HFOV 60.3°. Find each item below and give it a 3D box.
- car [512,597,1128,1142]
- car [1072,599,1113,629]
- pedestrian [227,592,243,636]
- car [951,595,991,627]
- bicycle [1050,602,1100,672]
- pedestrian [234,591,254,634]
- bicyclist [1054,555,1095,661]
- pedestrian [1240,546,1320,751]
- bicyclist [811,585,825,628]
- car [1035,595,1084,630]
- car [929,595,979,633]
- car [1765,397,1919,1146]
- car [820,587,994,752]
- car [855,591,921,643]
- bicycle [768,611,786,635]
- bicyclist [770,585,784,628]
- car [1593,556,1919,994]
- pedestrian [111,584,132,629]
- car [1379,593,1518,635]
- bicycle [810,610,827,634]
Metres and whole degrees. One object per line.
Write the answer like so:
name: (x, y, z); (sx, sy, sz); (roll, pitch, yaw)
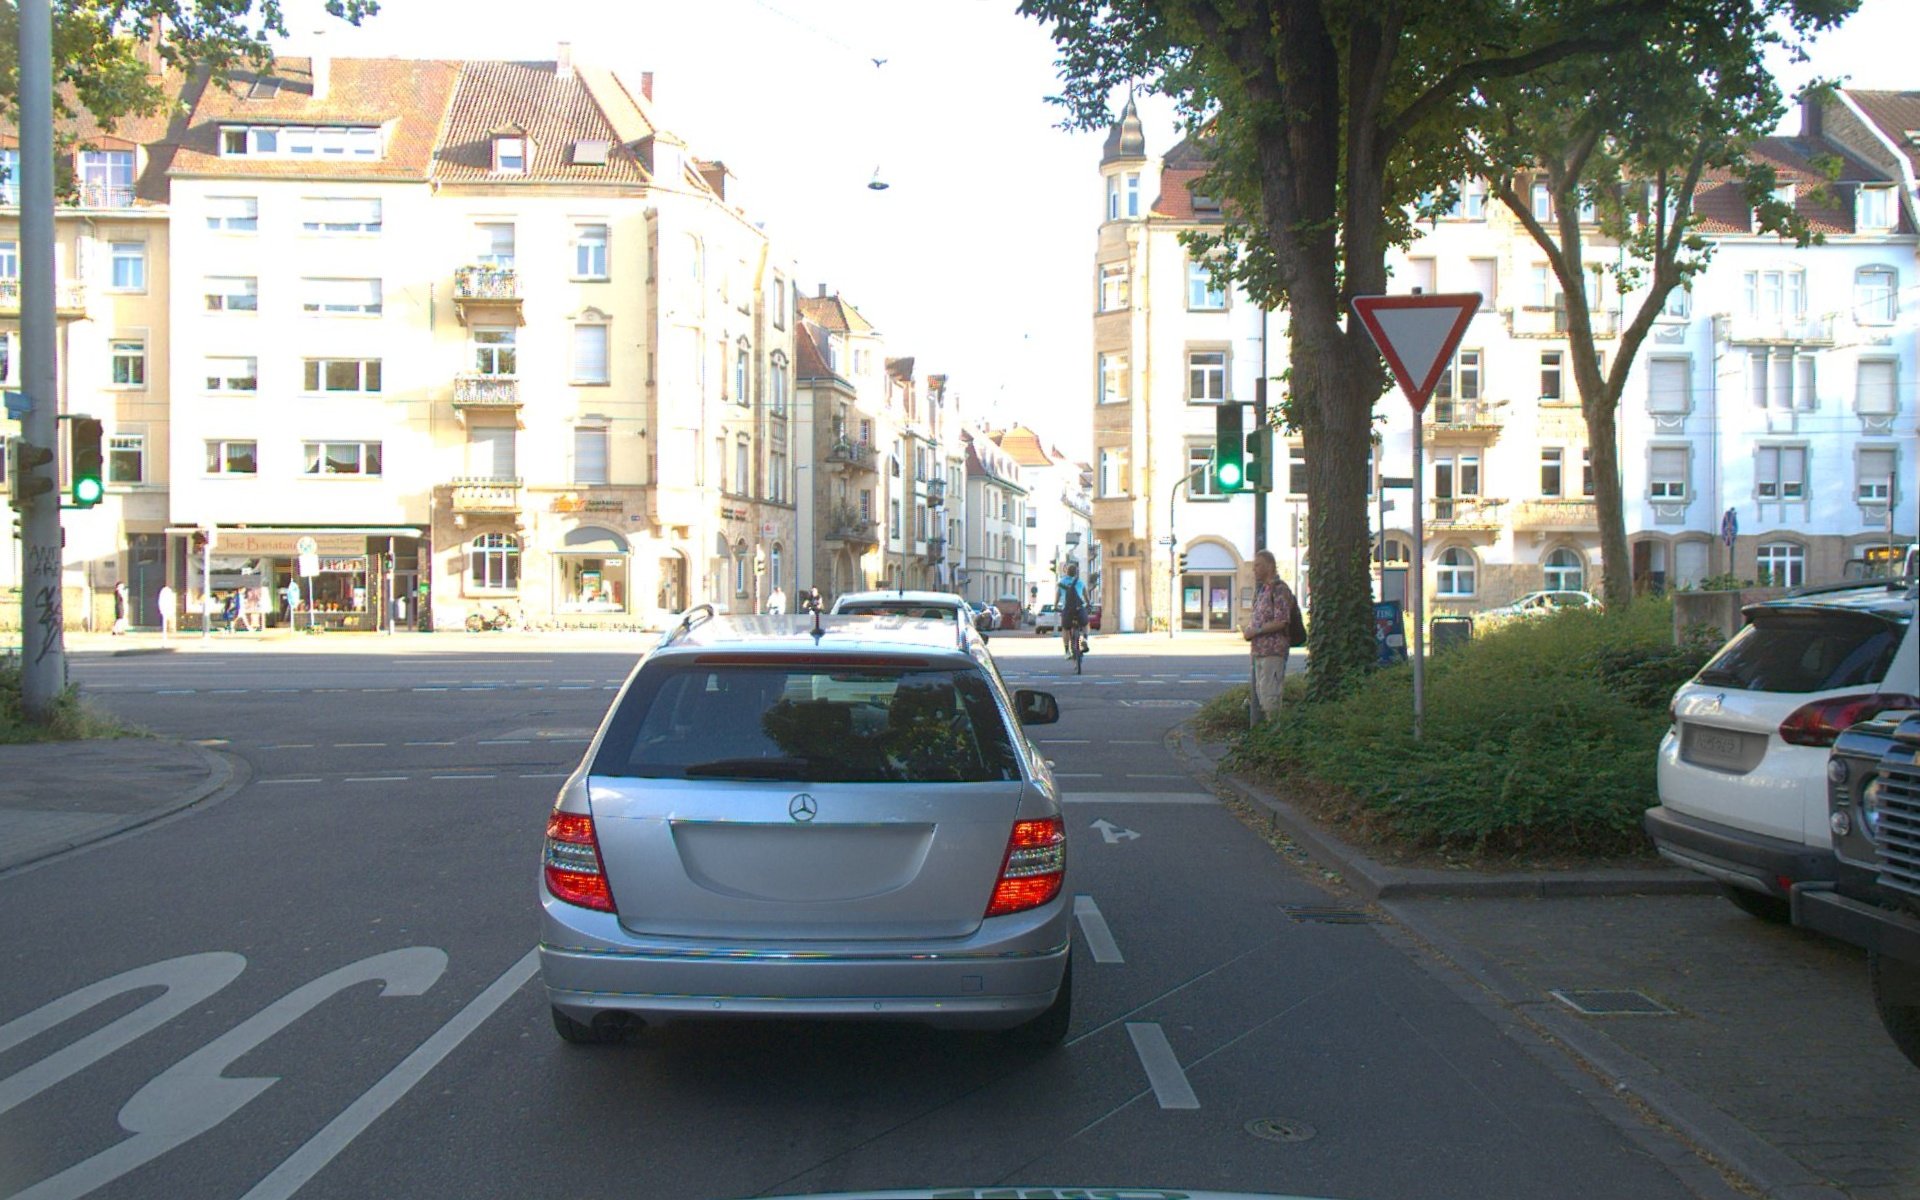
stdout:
car: (-0.432, 0.740, 6.276); (1.656, 1.454, 3.491); (1, 0, -2)
car: (7.710, 0.781, 96.059); (1.684, 1.503, 4.004); (-4, 0, 13)
pedestrian: (-25.620, 0.477, 58.446); (0.465, 1.537, 0.428); (0, 0, -19)
car: (0.655, 0.631, 96.545); (1.615, 1.814, 3.866); (0, -1, 12)
bicycle: (1.986, 0.619, 28.683); (0.727, 1.137, 2.013); (1, 1, 1)
pedestrian: (-25.575, 0.452, 59.069); (0.498, 1.537, 0.536); (0, 0, -6)
bicyclist: (1.982, 0.136, 28.707); (0.633, 1.806, 0.831); (1, 0, 0)
pedestrian: (2.990, 0.443, 15.497); (0.619, 1.877, 0.574); (0, 0, -3)
bicyclist: (-5.229, 0.238, 60.863); (0.457, 1.547, 0.693); (0, 0, -3)
car: (4.850, 0.587, 80.106); (1.684, 1.504, 4.004); (-2, 1, 13)
car: (-0.255, 0.634, 79.199); (1.650, 1.752, 4.004); (0, 0, 11)
car: (4.734, 0.385, 4.283); (4.401, 1.990, 1.792); (-2, 0, -2)
car: (-0.488, 0.588, 16.156); (1.502, 1.415, 3.598); (0, 1, -1)
car: (-2.855, 0.641, 66.452); (1.896, 1.993, 4.153); (0, 0, 9)
bicycle: (-6.592, 0.828, 59.629); (0.557, 0.849, 1.565); (0, 0, -3)
bicyclist: (-6.581, 0.245, 59.616); (0.457, 1.541, 0.655); (0, 0, -3)
car: (4.784, 0.609, 7.151); (3.413, 1.614, 1.709); (-1, 0, -6)
pedestrian: (-29.048, 0.226, 57.311); (0.556, 1.537, 0.499); (0, 0, -18)
car: (12.970, 0.364, 44.041); (3.295, 1.087, 1.380); (0, 0, -1)
bicycle: (-5.205, 0.805, 60.875); (0.557, 0.849, 1.565); (0, 0, -3)
